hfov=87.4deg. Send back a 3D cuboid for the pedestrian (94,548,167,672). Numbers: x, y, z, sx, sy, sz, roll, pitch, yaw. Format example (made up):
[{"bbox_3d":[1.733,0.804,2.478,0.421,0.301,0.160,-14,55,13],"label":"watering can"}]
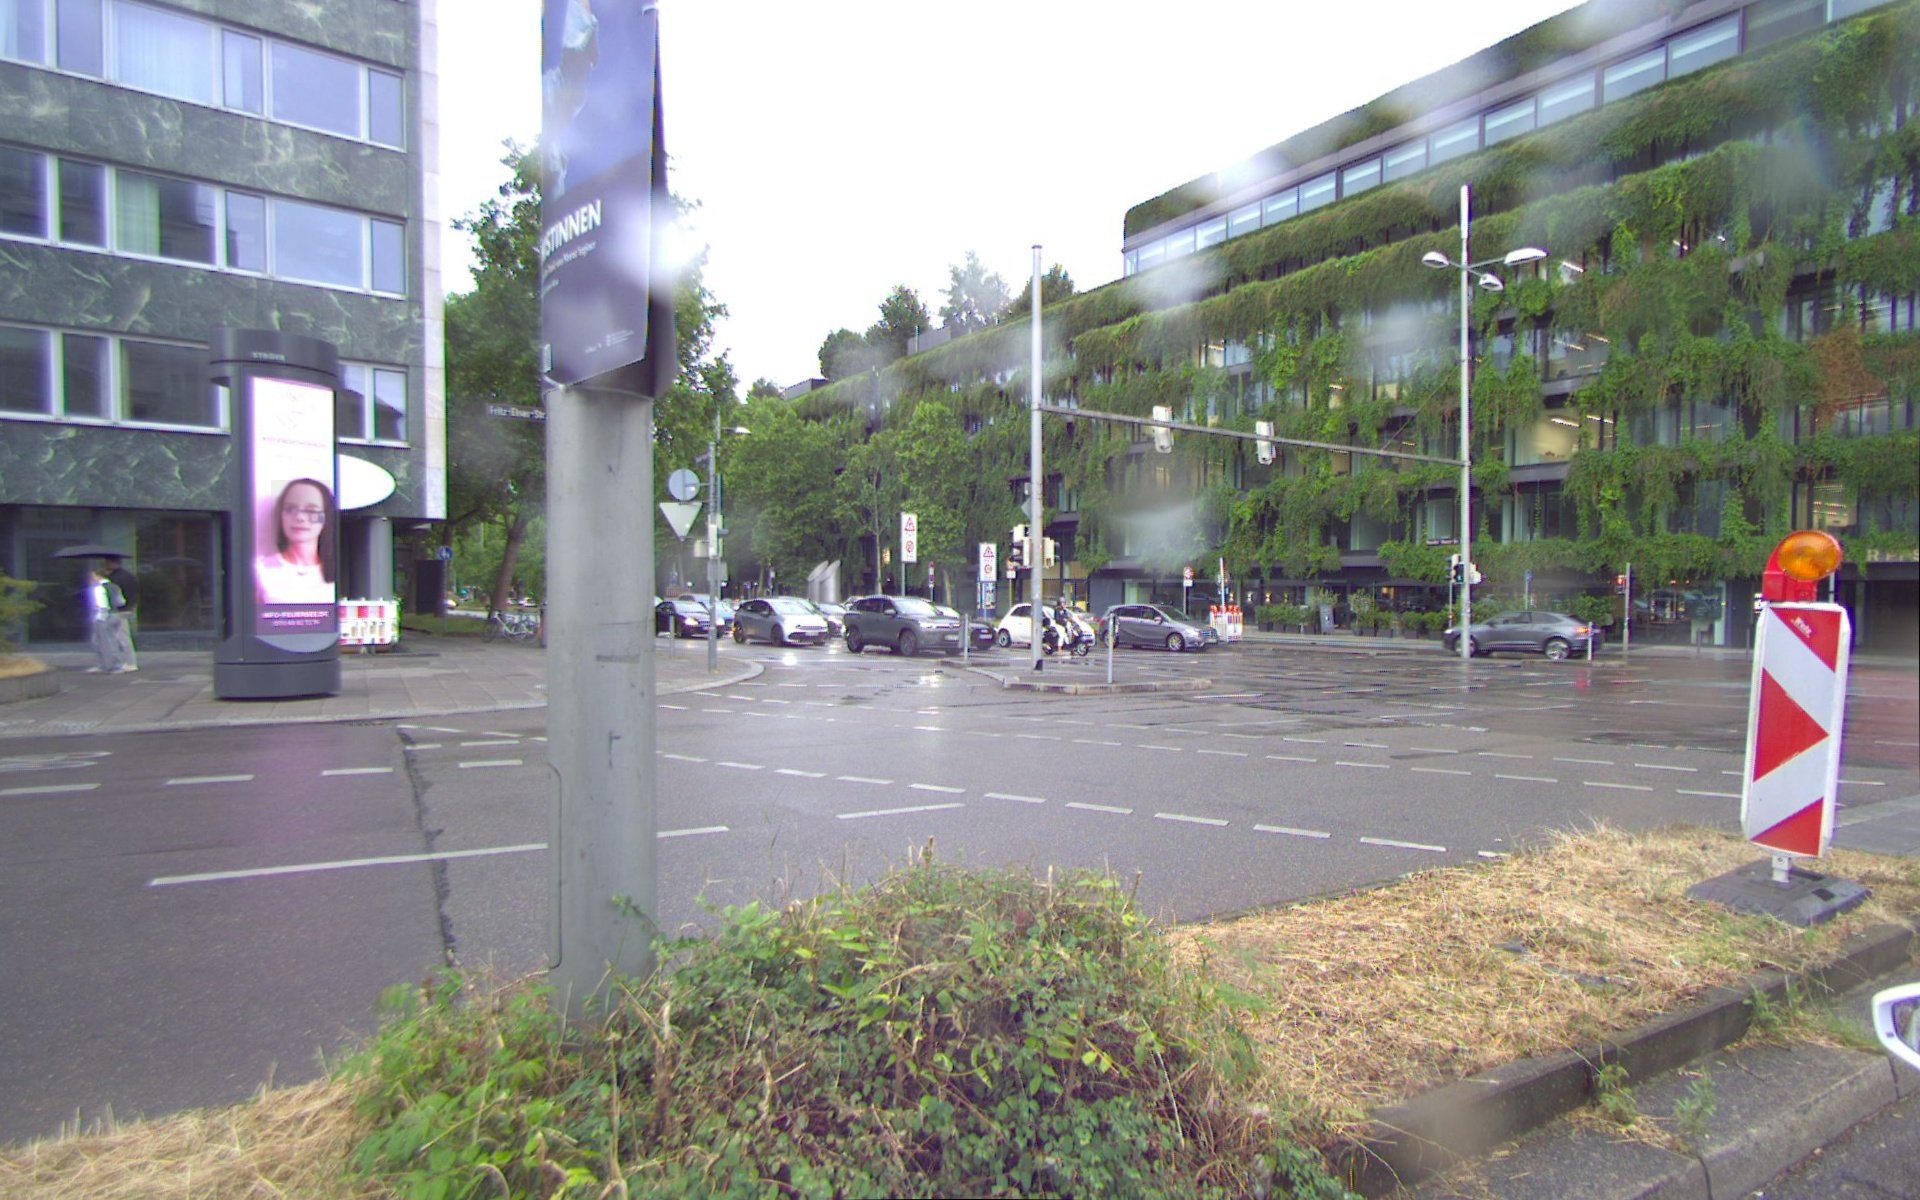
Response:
[{"bbox_3d":[-13.959,0.173,16.916,0.715,2.040,0.598,1,0,-10],"label":"pedestrian"}]

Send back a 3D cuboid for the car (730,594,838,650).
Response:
[{"bbox_3d":[-6.008,0.697,34.036,1.982,1.773,3.956,1,0,-38],"label":"car"}]

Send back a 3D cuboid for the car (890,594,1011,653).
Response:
[{"bbox_3d":[-0.379,0.709,32.543,1.981,1.773,3.958,1,0,-37],"label":"car"}]

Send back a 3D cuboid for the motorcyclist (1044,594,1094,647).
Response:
[{"bbox_3d":[3.144,0.581,28.993,1.153,1.492,0.832,2,0,40],"label":"motorcyclist"}]

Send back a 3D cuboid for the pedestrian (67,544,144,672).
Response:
[{"bbox_3d":[-13.850,0.132,16.293,0.715,2.040,0.598,1,0,-10],"label":"pedestrian"}]

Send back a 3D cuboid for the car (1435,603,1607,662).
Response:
[{"bbox_3d":[17.666,0.987,31.764,1.820,1.630,4.429,2,0,-45],"label":"car"}]

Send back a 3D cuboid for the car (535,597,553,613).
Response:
[{"bbox_3d":[-57.192,0.645,138.159,1.975,2.040,3.972,2,0,-27],"label":"car"}]

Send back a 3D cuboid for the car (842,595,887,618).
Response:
[{"bbox_3d":[-7.356,0.491,77.247,1.783,1.588,3.962,2,0,-34],"label":"car"}]

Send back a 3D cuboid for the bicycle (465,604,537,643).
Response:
[{"bbox_3d":[-12.966,0.663,28.412,1.765,1.066,0.581,1,0,-35],"label":"bicycle"}]

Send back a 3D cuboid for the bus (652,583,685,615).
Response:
[{"bbox_3d":[-32.009,-0.152,110.234,1.783,3.385,5.922,2,0,-34],"label":"bus"}]

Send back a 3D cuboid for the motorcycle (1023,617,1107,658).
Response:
[{"bbox_3d":[3.018,1.067,29.093,2.331,1.068,0.830,2,0,41],"label":"motorcycle"}]

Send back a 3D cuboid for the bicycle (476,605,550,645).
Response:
[{"bbox_3d":[-12.288,0.678,27.635,1.765,1.066,0.581,1,0,-35],"label":"bicycle"}]

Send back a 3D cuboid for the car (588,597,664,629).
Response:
[{"bbox_3d":[-15.025,0.565,45.036,1.982,1.389,4.131,1,0,-37],"label":"car"}]

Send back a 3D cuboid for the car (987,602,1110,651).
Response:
[{"bbox_3d":[2.883,0.856,33.466,1.981,1.495,3.958,1,0,-37],"label":"car"}]

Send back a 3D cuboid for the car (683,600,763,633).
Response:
[{"bbox_3d":[-10.665,0.698,45.023,1.982,1.389,4.131,1,0,-37],"label":"car"}]

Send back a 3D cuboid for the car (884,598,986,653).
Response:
[{"bbox_3d":[-1.000,0.913,37.764,1.978,1.923,4.139,1,0,-33],"label":"car"}]

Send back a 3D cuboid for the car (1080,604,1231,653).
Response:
[{"bbox_3d":[6.629,0.934,34.410,4.842,1.508,1.922,1,0,45],"label":"car"}]

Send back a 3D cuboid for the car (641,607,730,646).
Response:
[{"bbox_3d":[-10.891,1.003,39.625,1.982,1.389,4.131,1,0,-37],"label":"car"}]

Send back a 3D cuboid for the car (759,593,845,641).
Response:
[{"bbox_3d":[-6.282,0.656,39.670,1.841,1.791,4.139,1,0,-32],"label":"car"}]

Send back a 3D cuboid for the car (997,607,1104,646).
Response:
[{"bbox_3d":[4.223,1.242,47.250,4.663,1.496,1.991,4,0,41],"label":"car"}]

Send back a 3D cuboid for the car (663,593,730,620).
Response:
[{"bbox_3d":[-13.919,0.337,52.925,1.982,1.389,4.131,1,0,-37],"label":"car"}]

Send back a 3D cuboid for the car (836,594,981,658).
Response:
[{"bbox_3d":[-1.568,0.701,29.127,1.984,1.709,4.314,1,0,-41],"label":"car"}]
